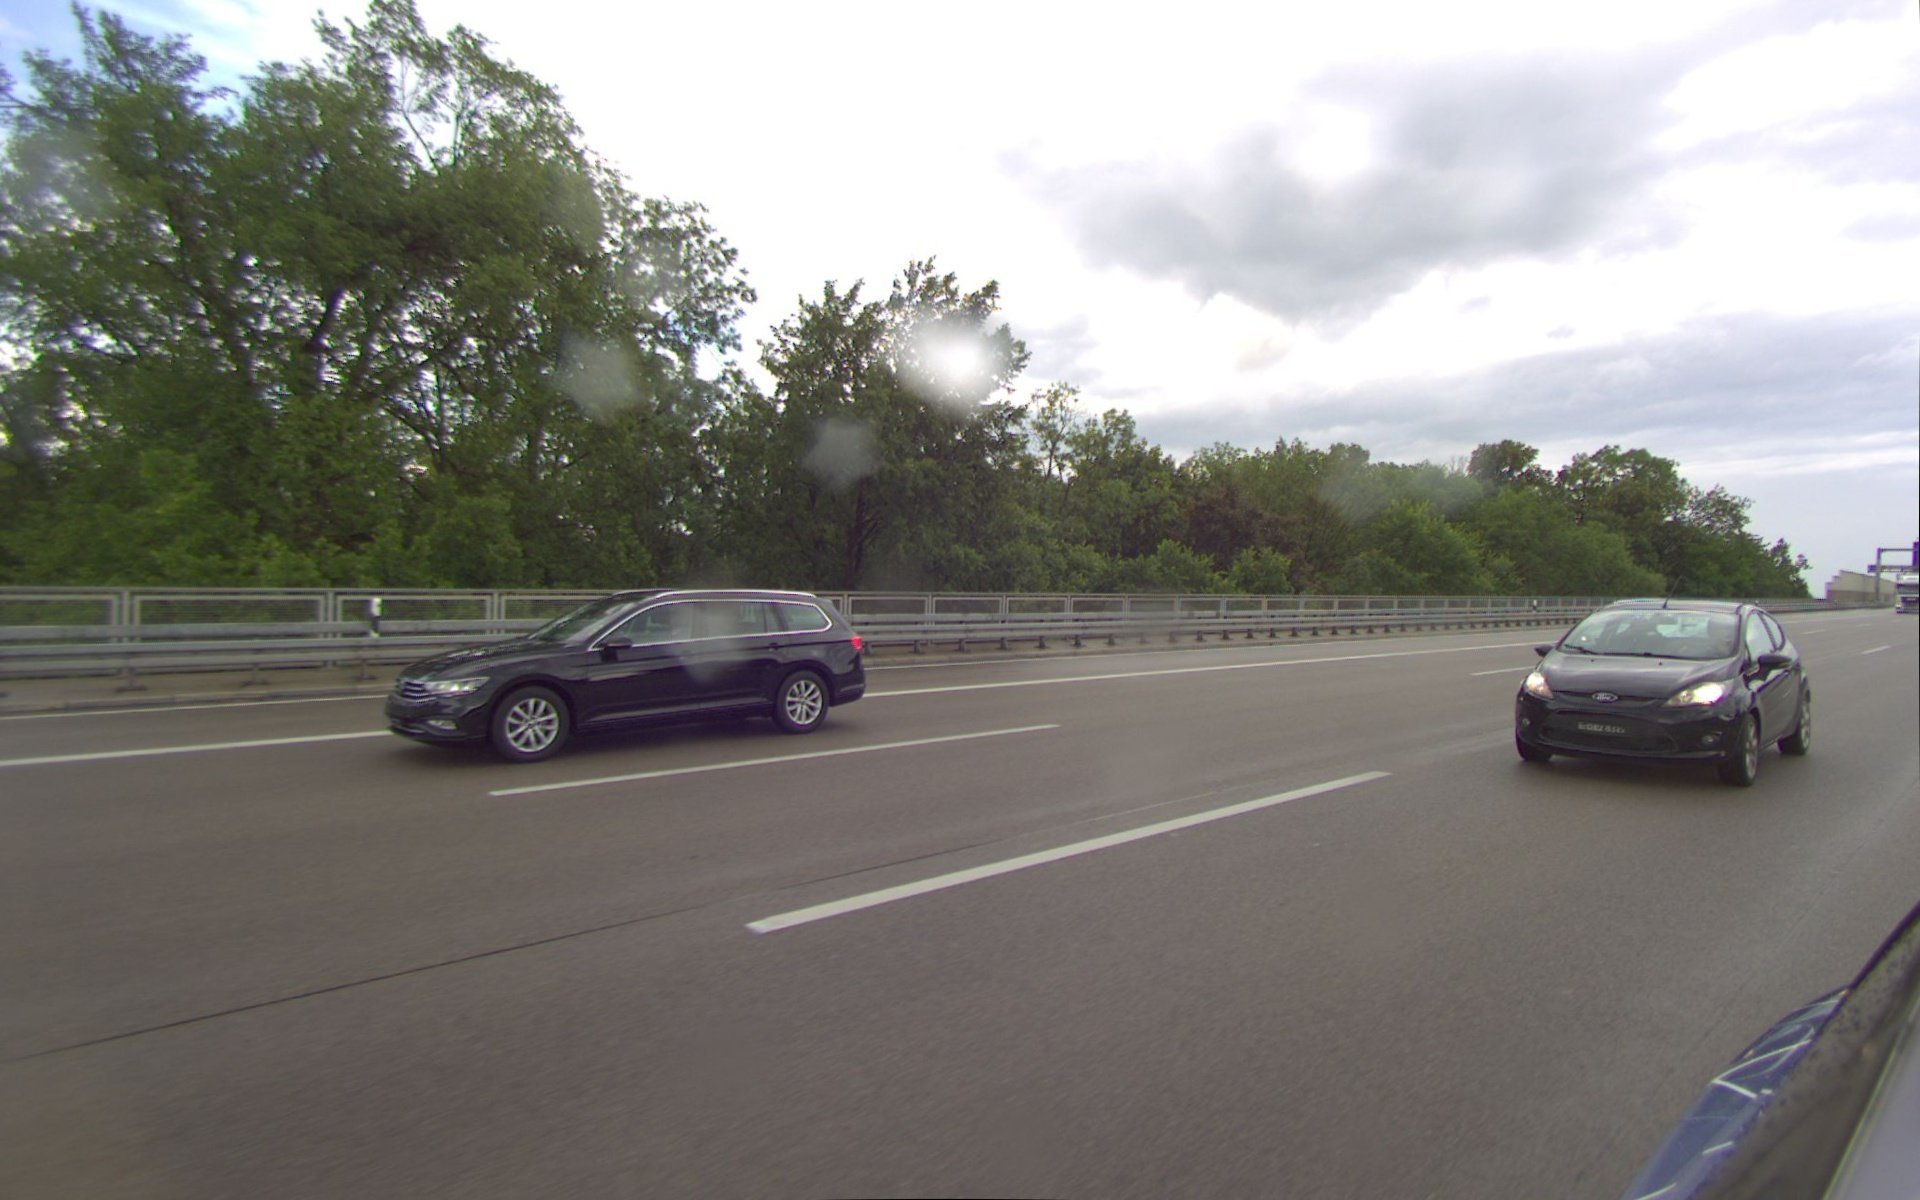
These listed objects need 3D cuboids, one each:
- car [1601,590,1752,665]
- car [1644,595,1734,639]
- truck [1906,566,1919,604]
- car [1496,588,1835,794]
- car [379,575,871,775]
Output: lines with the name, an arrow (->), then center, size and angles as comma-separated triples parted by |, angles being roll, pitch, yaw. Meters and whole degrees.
car -> 15.704, 0.534, 22.092 | 4.174, 1.465, 1.895 | 0, 1, -43
car -> 26.032, 0.571, 36.073 | 4.510, 1.465, 1.779 | 0, 1, -43
truck -> 102.863, -1.567, 107.397 | 3.248, 3.956, 12.115 | 0, 0, 45
car -> 6.674, 0.628, 9.374 | 4.330, 1.458, 1.666 | -1, 1, -42
car -> -3.130, 0.570, 10.040 | 4.284, 1.562, 1.817 | 0, 1, -43
